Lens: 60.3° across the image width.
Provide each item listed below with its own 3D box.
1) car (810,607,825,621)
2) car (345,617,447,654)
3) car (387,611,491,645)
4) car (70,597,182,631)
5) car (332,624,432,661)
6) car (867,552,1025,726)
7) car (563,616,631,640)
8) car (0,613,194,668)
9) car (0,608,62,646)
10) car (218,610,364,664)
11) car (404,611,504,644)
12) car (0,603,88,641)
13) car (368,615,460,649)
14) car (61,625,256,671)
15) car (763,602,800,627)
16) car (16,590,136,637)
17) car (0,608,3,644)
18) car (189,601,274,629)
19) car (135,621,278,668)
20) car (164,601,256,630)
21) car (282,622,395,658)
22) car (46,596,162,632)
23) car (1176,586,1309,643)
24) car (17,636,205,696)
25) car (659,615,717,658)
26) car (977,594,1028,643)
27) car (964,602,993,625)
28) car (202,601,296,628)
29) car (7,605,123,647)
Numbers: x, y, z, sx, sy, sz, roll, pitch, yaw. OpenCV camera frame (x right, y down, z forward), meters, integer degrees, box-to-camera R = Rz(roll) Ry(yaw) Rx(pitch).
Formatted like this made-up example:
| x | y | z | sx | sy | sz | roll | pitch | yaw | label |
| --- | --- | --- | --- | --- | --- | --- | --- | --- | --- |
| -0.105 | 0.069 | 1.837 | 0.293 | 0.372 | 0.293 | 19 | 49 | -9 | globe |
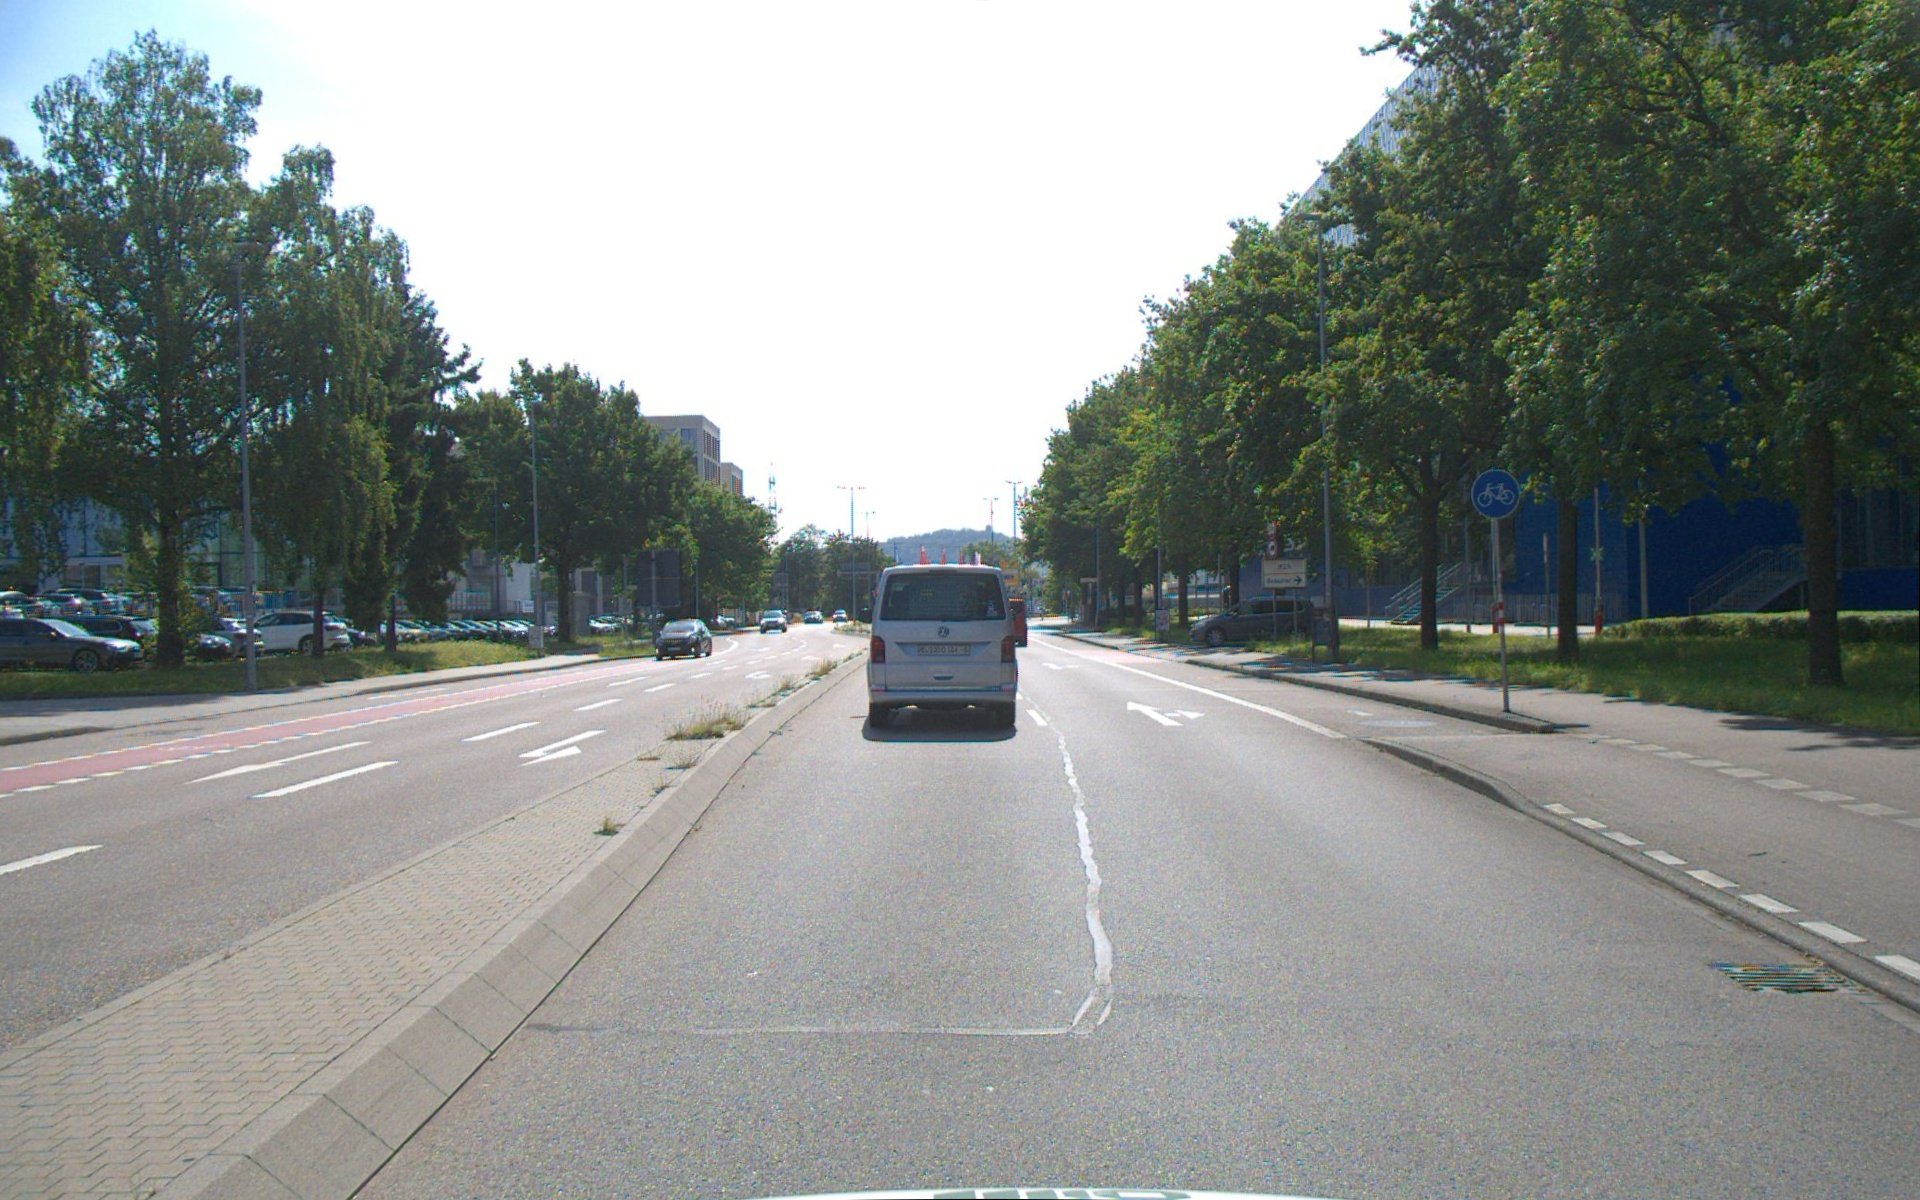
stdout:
| x | y | z | sx | sy | sz | roll | pitch | yaw | label |
| --- | --- | --- | --- | --- | --- | --- | --- | --- | --- |
| -17.803 | 1.776 | 206.673 | 1.704 | 1.646 | 4.206 | -4 | 0 | -4 | car |
| -24.797 | 1.563 | 72.803 | 3.810 | 1.363 | 1.839 | -3 | 0 | -3 | car |
| -25.217 | 1.354 | 80.140 | 4.410 | 1.502 | 1.978 | -2 | 0 | -3 | car |
| -40.667 | 0.699 | 80.741 | 4.410 | 1.511 | 1.978 | -2 | 0 | -3 | car |
| -24.597 | 1.802 | 70.462 | 3.668 | 1.307 | 1.662 | -3 | 0 | -3 | car |
| -0.203 | 0.454 | 21.277 | 1.846 | 2.025 | 3.999 | 0 | 0 | -1 | car |
| -24.350 | 1.874 | 111.055 | 4.092 | 1.211 | 1.954 | -5 | 0 | -3 | car |
| -22.945 | 1.044 | 43.539 | 4.592 | 1.414 | 1.999 | 0 | 0 | -2 | car |
| -39.809 | 1.158 | 68.192 | 4.410 | 1.511 | 1.978 | -2 | 0 | -3 | car |
| -23.902 | 1.299 | 59.214 | 4.372 | 1.908 | 2.000 | 0 | 0 | 0 | car |
| -25.394 | 1.379 | 83.163 | 4.410 | 1.502 | 1.918 | -2 | 0 | -3 | car |
| -40.048 | 0.948 | 70.727 | 4.410 | 1.511 | 1.978 | -2 | 0 | -3 | car |
| -24.835 | 1.441 | 75.307 | 3.523 | 1.307 | 1.864 | -3 | 0 | -3 | car |
| -23.531 | 1.390 | 48.704 | 4.753 | 1.290 | 1.999 | 0 | 0 | -2 | car |
| -12.735 | 1.030 | 118.057 | 1.952 | 1.646 | 4.105 | -3 | 0 | 3 | car |
| -40.503 | 0.605 | 75.857 | 4.410 | 1.996 | 1.978 | -2 | 0 | -3 | car |
| -40.572 | 1.053 | 65.330 | 4.410 | 1.443 | 1.890 | 0 | 0 | -3 | car |
| -39.891 | 0.819 | 90.646 | 3.906 | 1.522 | 1.667 | 0 | 0 | -2 | car |
| -23.357 | 1.367 | 51.368 | 3.605 | 1.395 | 1.816 | 0 | 0 | -2 | car |
| -39.760 | 0.812 | 87.748 | 3.906 | 1.522 | 2.051 | 0 | 0 | -2 | car |
| -23.827 | 1.524 | 63.488 | 3.715 | 1.308 | 1.743 | 0 | 0 | -3 | car |
| -40.640 | 0.654 | 78.606 | 4.410 | 1.578 | 1.978 | -2 | 0 | -3 | car |
| 9.732 | 0.498 | 57.292 | 4.350 | 1.723 | 1.845 | -3 | -1 | 6 | car |
| -23.339 | 1.806 | 45.565 | 4.128 | 1.573 | 1.999 | 0 | 0 | -2 | car |
| -10.880 | 1.449 | 66.383 | 1.664 | 1.545 | 4.026 | -3 | 0 | -2 | car |
| 1.784 | 0.767 | 71.000 | 1.928 | 2.002 | 5.123 | 0 | 0 | -2 | car |
| 1.172 | 0.852 | 107.379 | 1.711 | 1.484 | 4.474 | 0 | 0 | -1 | car |
| -40.002 | 0.824 | 93.154 | 4.428 | 1.522 | 1.985 | 0 | 0 | -2 | car |
| -39.761 | 1.131 | 73.538 | 4.183 | 1.735 | 1.664 | -2 | 0 | -3 | car |
